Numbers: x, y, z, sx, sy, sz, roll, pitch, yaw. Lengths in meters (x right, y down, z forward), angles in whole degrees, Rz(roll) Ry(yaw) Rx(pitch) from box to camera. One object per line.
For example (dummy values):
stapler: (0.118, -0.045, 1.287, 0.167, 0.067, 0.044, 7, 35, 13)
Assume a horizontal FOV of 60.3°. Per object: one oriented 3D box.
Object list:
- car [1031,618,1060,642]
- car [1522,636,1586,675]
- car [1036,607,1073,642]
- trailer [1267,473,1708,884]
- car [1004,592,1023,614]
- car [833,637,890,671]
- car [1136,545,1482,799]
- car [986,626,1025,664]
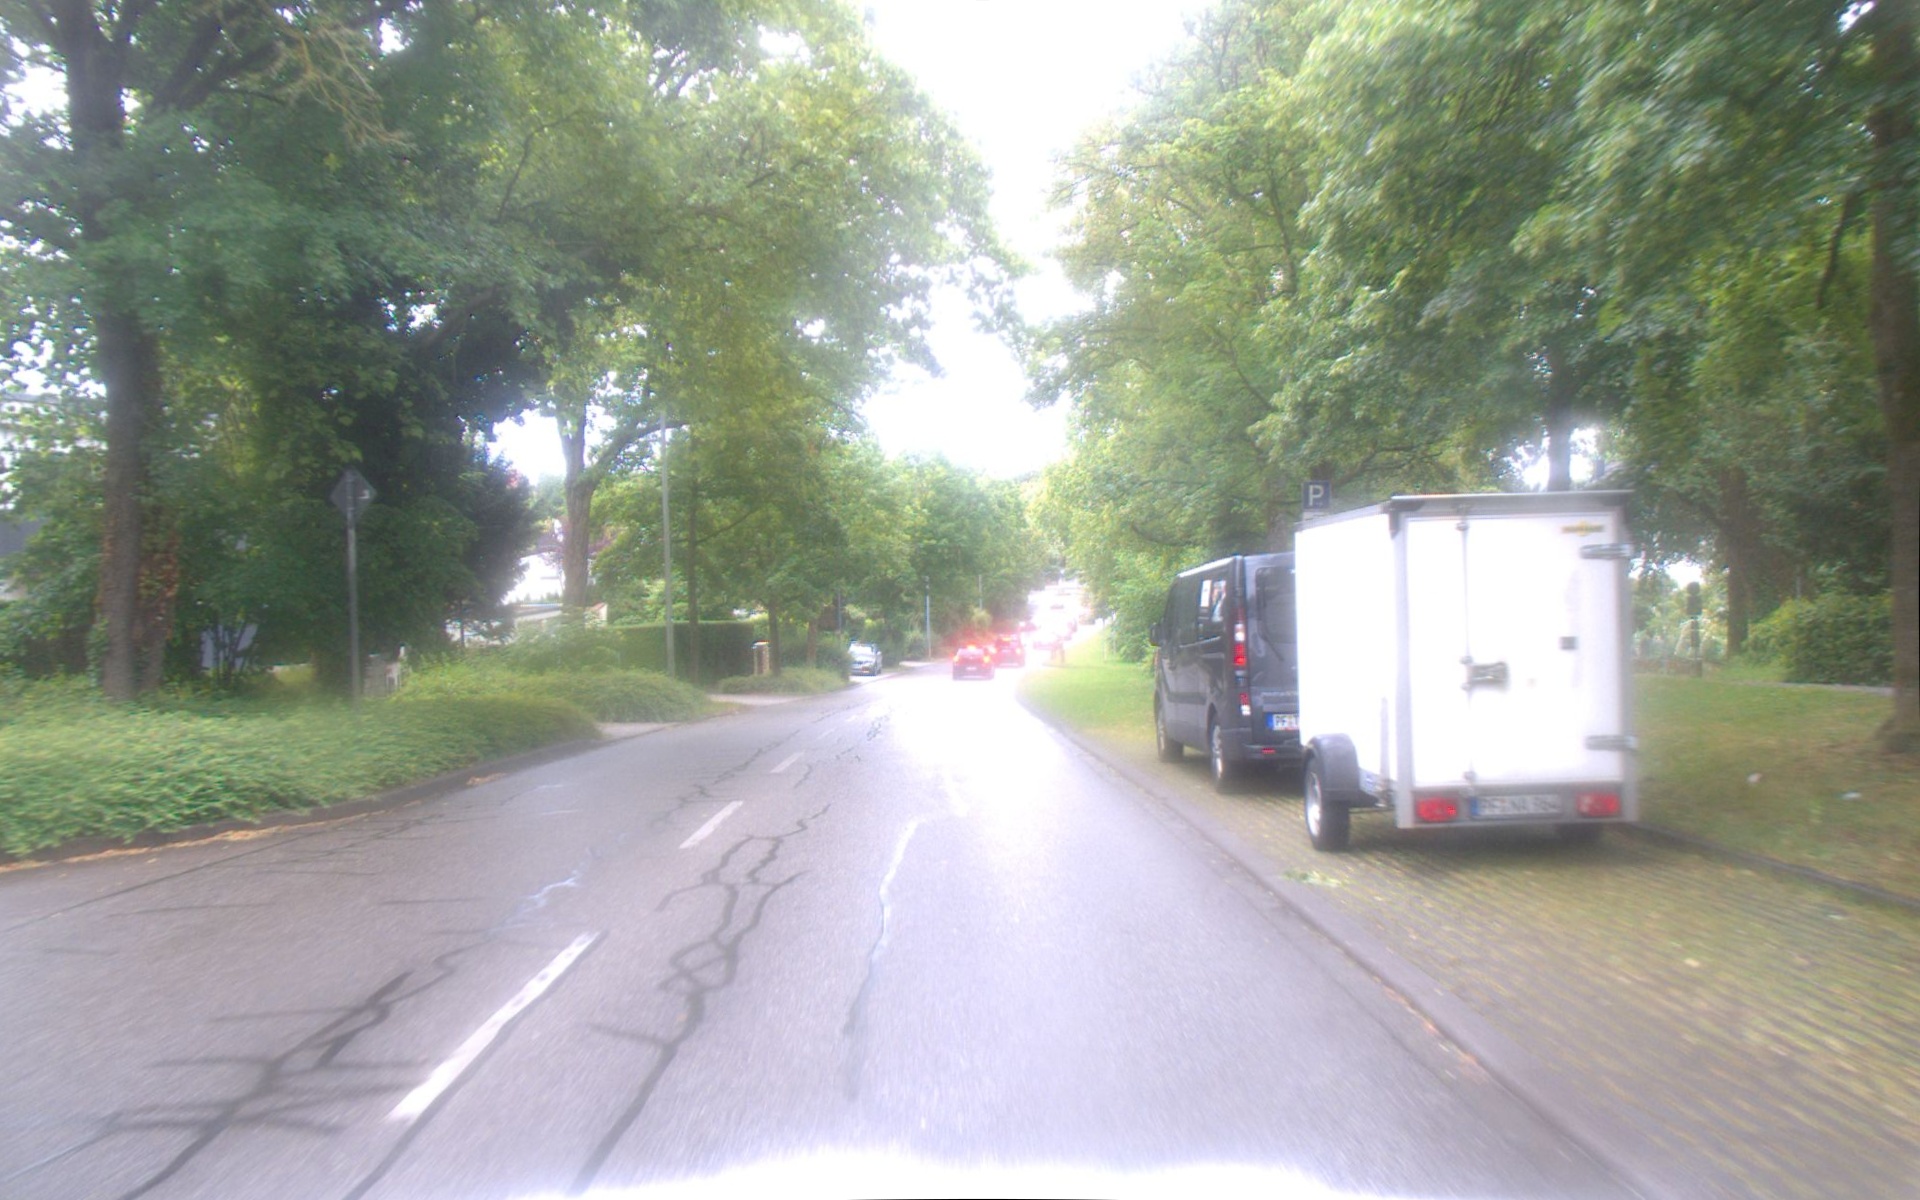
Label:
car: (6.455, 2.287, 124.543, 1.819, 1.721, 3.998, -1, -1, -2)
car: (26.179, 2.448, 73.026, 1.769, 1.659, 4.003, -1, -2, 7)
car: (5.812, 1.541, 102.245, 1.953, 2.049, 3.998, -1, -2, -2)
trailer: (3.162, 0.429, 10.758, 1.499, 2.112, 3.999, -2, -1, 0)
car: (5.807, 0.339, 180.943, 1.952, 2.048, 4.002, -1, 4, 1)
car: (-4.984, 2.716, 83.920, 1.951, 1.627, 4.013, -1, -2, 11)
car: (3.030, 0.608, 15.701, 1.953, 1.943, 5.507, -1, -1, -2)
car: (2.554, 2.536, 93.299, 1.953, 2.049, 3.998, -1, -1, -2)
